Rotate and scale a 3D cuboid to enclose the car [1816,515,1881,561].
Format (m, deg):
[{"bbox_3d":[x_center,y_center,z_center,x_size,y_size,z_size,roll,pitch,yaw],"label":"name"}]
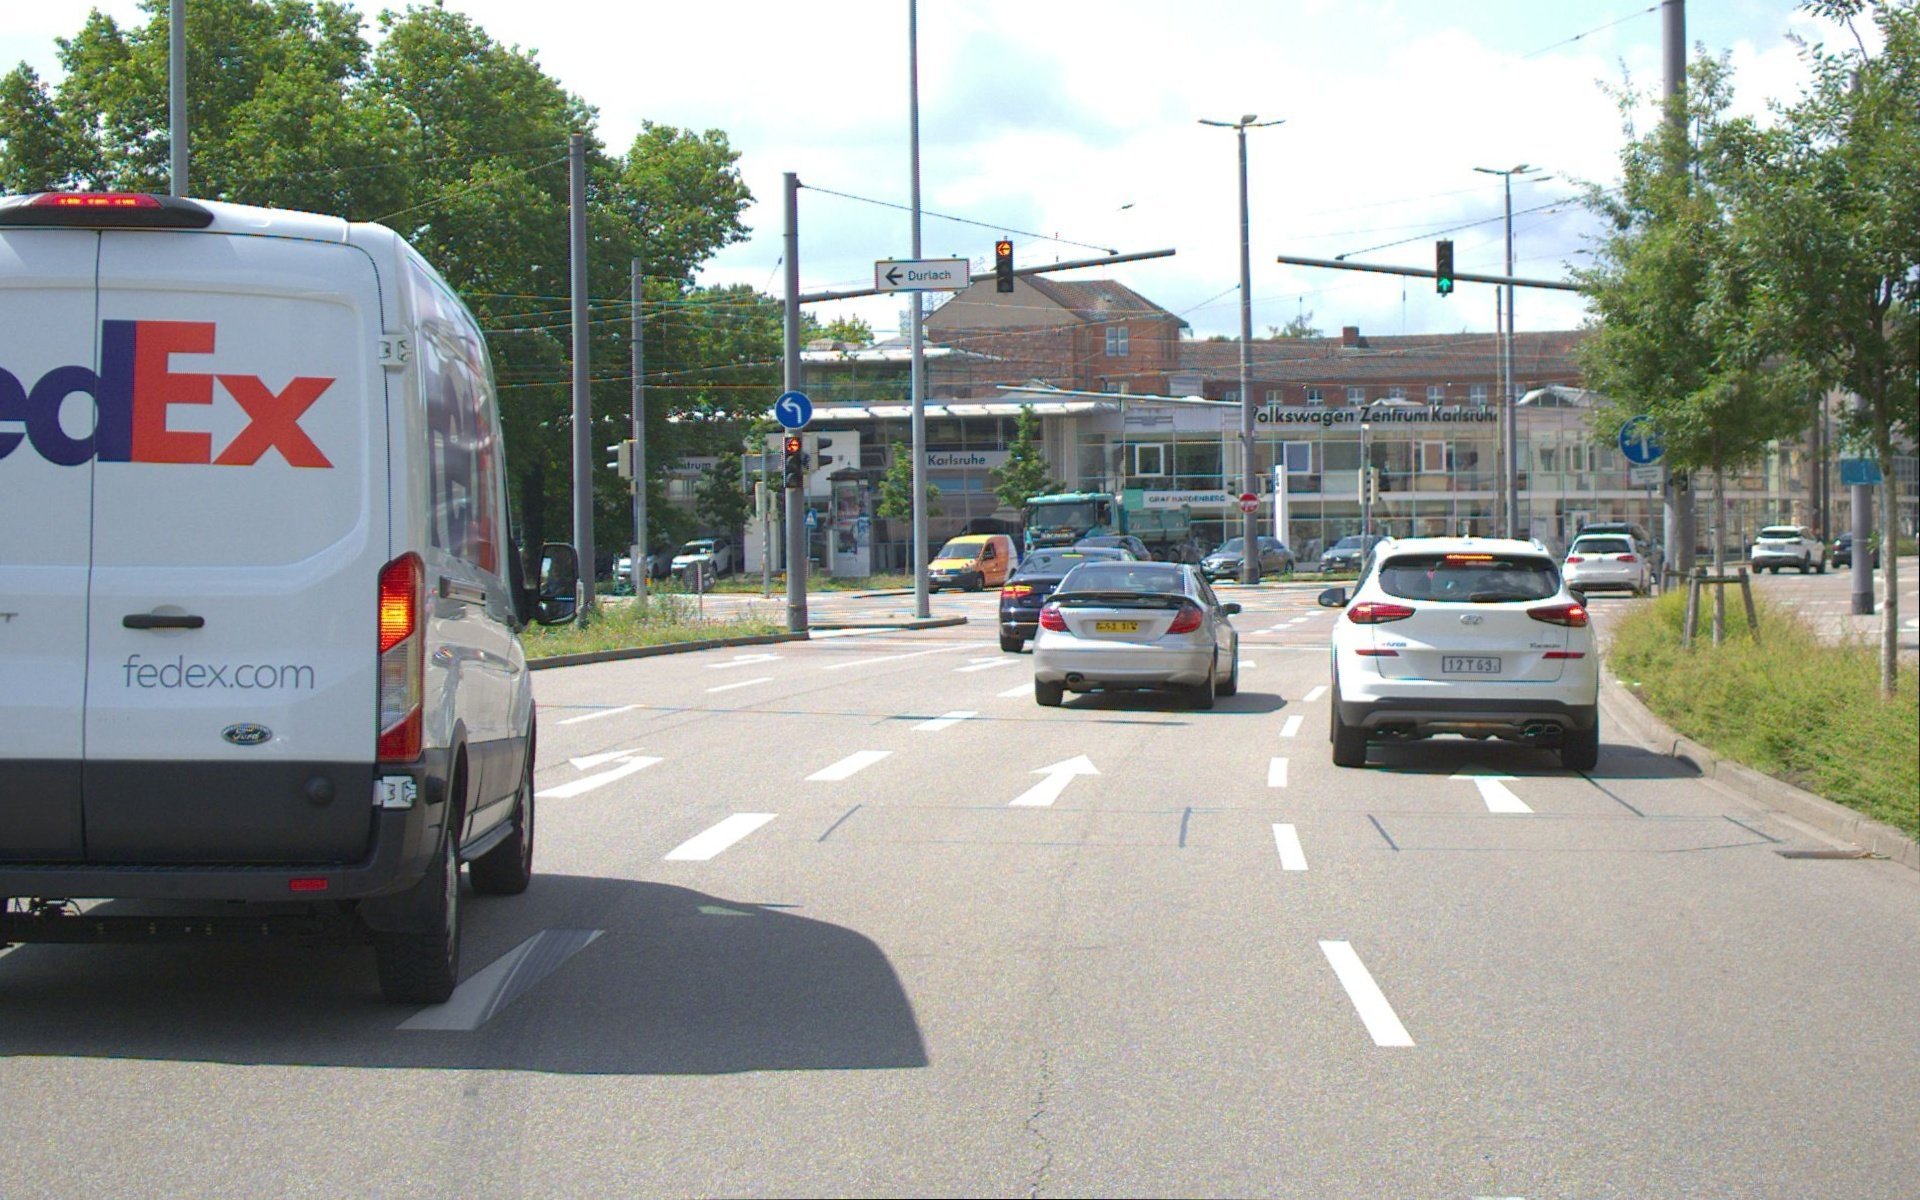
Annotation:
[{"bbox_3d":[32.893,-2.298,127.196,1.883,1.635,3.953,0,1,21],"label":"car"}]

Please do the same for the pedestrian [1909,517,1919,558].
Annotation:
[{"bbox_3d":[34.196,-2.227,122.398,0.693,1.452,0.679,0,0,25],"label":"pedestrian"}]

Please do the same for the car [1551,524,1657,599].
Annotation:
[{"bbox_3d":[14.650,-0.895,78.114,1.883,1.635,3.954,0,1,18],"label":"car"}]

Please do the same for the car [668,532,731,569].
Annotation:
[{"bbox_3d":[-11.525,-2.174,152.203,1.994,1.568,4.177,0,0,7],"label":"car"}]

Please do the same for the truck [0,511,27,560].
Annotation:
[{"bbox_3d":[-42.281,-2.759,148.281,1.805,2.113,4.776,-1,1,14],"label":"truck"}]

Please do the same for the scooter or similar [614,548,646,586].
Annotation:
[{"bbox_3d":[-9.855,-0.976,102.658,0.378,1.112,1.093,0,0,29],"label":"scooter or similar"}]

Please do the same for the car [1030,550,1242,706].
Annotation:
[{"bbox_3d":[1.797,0.225,33.921,1.742,1.387,4.178,0,1,8],"label":"car"}]

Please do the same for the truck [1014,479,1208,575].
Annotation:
[{"bbox_3d":[4.771,-2.276,106.335,2.889,2.842,8.781,0,1,25],"label":"truck"}]

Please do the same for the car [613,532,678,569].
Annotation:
[{"bbox_3d":[-13.964,-2.194,152.841,1.994,1.568,4.177,0,0,7],"label":"car"}]

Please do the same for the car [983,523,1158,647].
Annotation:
[{"bbox_3d":[1.613,-0.255,48.474,1.929,1.635,4.791,0,1,8],"label":"car"}]

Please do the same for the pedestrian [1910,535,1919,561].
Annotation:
[{"bbox_3d":[34.207,-1.849,122.399,0.525,0.903,1.559,0,0,25],"label":"pedestrian"}]

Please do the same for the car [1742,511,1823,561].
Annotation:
[{"bbox_3d":[27.734,-2.164,115.818,1.884,1.635,3.952,0,1,25],"label":"car"}]

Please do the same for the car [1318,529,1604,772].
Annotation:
[{"bbox_3d":[3.658,0.309,25.730,1.881,1.635,4.232,-1,1,5],"label":"car"}]

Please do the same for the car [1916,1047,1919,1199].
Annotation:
[{"bbox_3d":[2.813,0.587,4.660,1.794,1.717,4.448,1,1,0],"label":"car"}]

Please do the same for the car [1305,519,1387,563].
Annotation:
[{"bbox_3d":[14.084,-2.166,125.298,1.720,1.526,4.116,0,1,25],"label":"car"}]

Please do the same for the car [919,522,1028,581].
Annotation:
[{"bbox_3d":[0.460,-1.554,109.116,1.720,1.794,4.735,-1,1,23],"label":"car"}]

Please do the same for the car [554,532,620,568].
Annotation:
[{"bbox_3d":[-16.605,-2.215,153.219,1.994,1.568,4.177,0,0,7],"label":"car"}]

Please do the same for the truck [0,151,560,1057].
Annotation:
[{"bbox_3d":[-2.742,-0.021,12.951,2.136,2.631,5.918,0,1,-4],"label":"truck"}]
